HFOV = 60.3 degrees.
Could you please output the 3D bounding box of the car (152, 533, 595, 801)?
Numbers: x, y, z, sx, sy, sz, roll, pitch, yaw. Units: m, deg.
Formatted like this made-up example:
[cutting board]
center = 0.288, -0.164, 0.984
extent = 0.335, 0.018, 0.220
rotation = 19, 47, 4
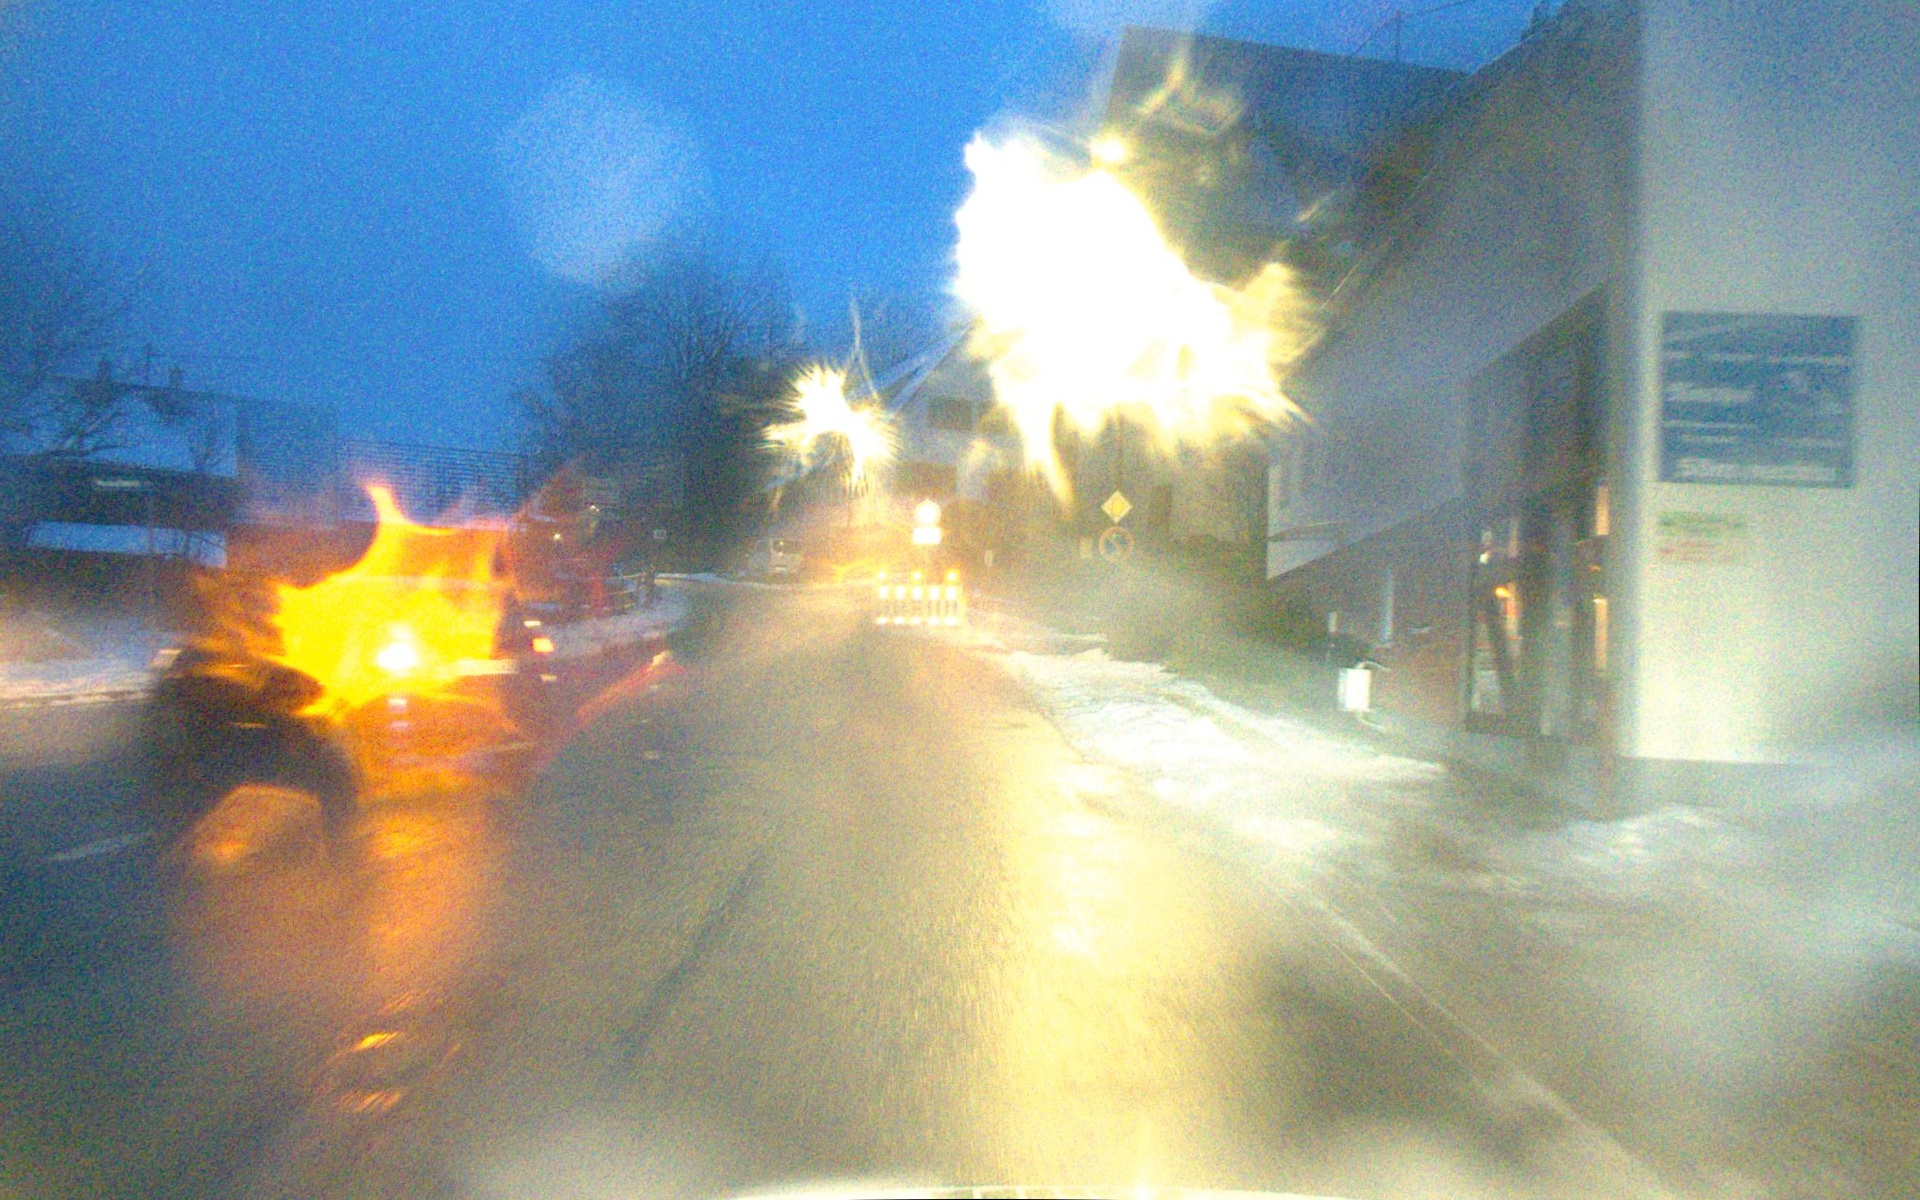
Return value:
[car]
center = -4.711, 0.471, 13.126
extent = 3.511, 1.828, 1.818
rotation = 0, -1, 40
